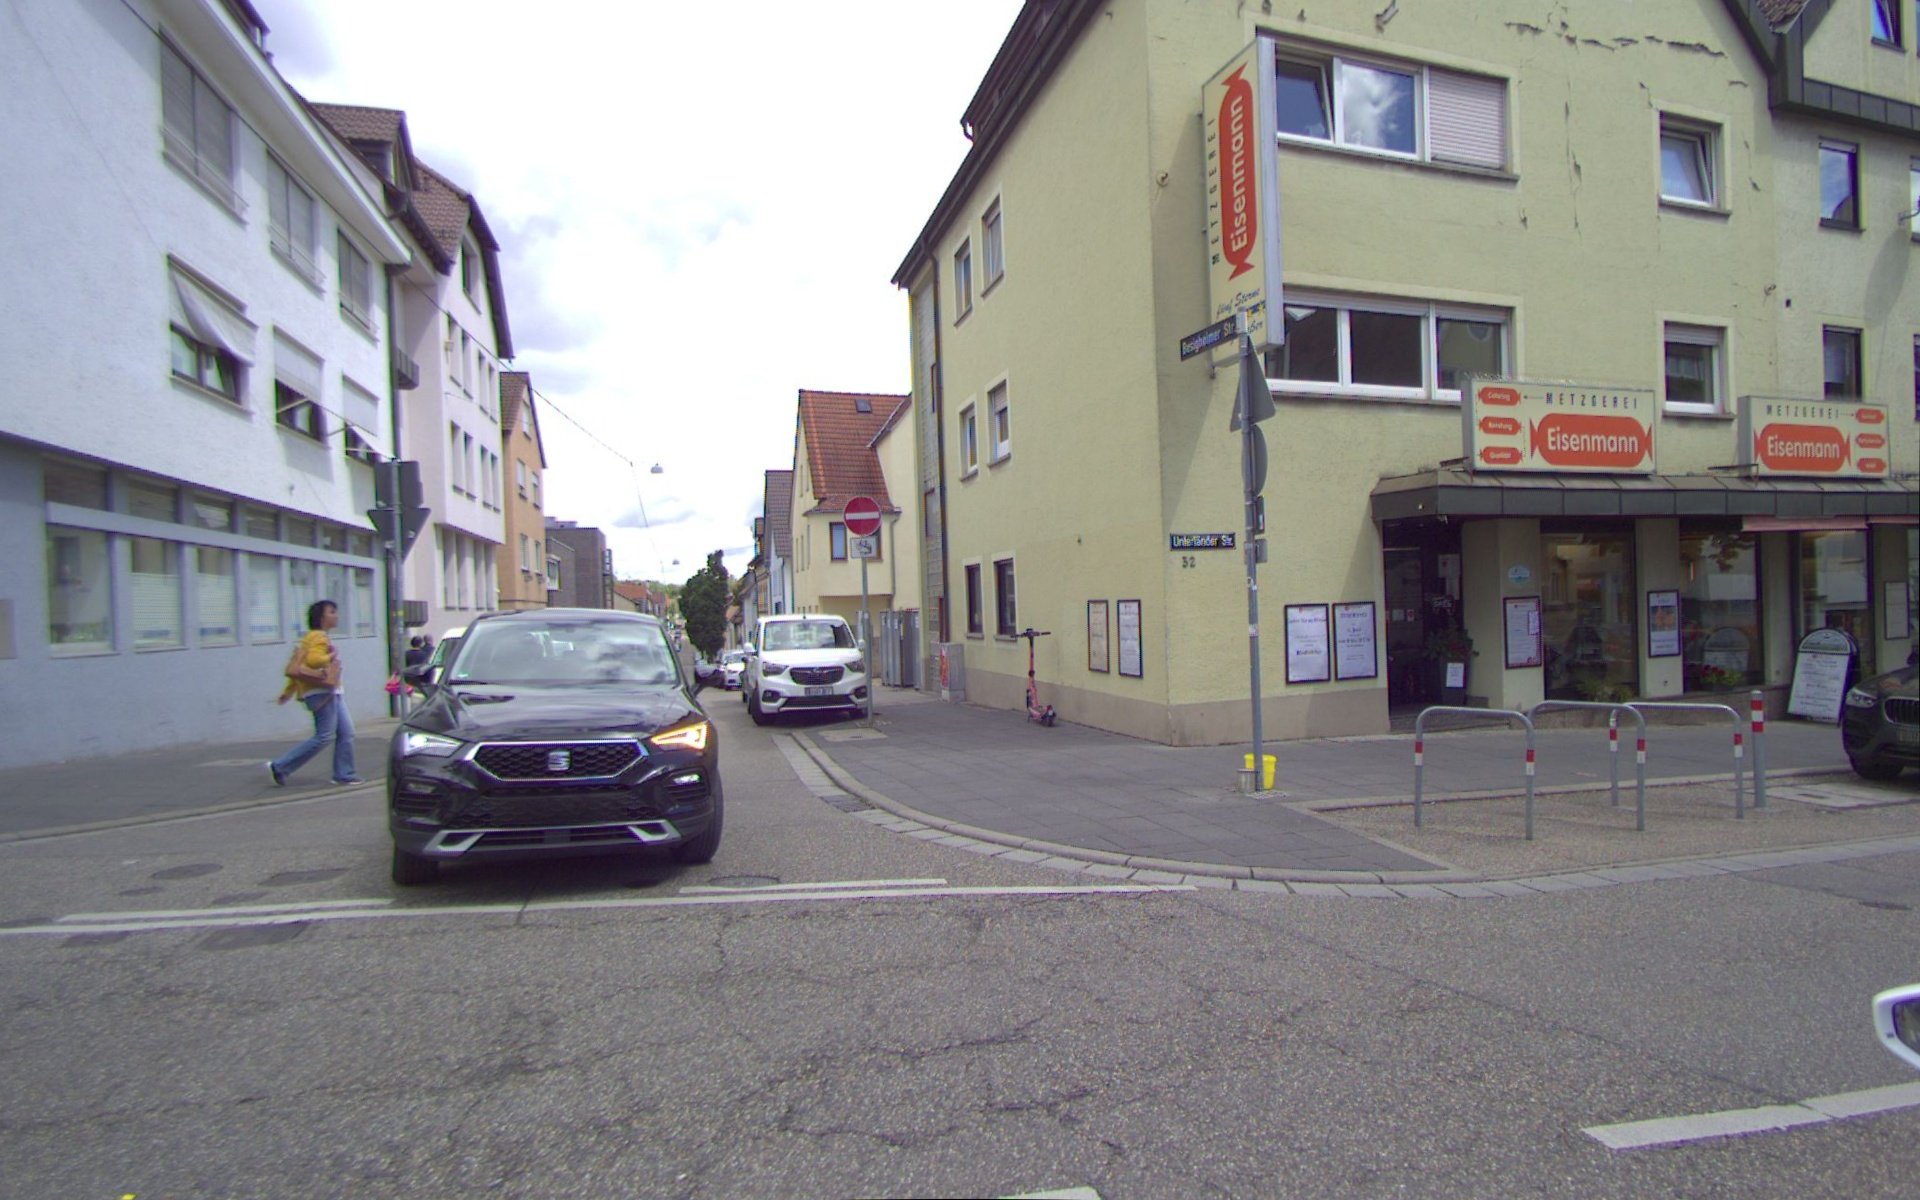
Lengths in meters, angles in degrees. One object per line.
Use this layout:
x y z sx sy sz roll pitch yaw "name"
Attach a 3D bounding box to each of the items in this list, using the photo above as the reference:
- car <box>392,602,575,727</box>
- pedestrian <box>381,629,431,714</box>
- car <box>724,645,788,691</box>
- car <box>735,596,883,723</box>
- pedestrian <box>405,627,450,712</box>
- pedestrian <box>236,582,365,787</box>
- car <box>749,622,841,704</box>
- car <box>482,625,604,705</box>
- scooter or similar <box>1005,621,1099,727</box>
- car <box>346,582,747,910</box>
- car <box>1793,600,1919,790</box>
-8.028 1.119 17.423 1.836 1.843 4.828 2 -4 -14 "car"
-10.400 1.327 18.878 0.627 1.564 0.706 1 -1 -13 "pedestrian"
-7.490 2.469 37.289 1.824 1.506 4.350 1 -1 -5 "car"
-2.745 1.011 17.348 1.967 1.829 4.341 -2 -3 -16 "car"
-11.361 1.462 21.454 0.627 1.761 0.834 1 -1 -13 "pedestrian"
-5.961 0.749 9.127 0.824 1.761 0.635 1 -2 -23 "pedestrian"
-3.805 1.409 22.592 1.708 1.650 4.343 1 -4 -13 "car"
-9.466 1.480 23.141 1.966 1.641 4.085 -1 -3 -14 "car"
1.207 0.959 13.503 0.581 1.298 1.589 -3 -1 -20 "scooter or similar"
-2.720 0.770 7.255 1.885 1.589 4.356 1 -1 -18 "car"
10.853 0.895 9.990 4.539 1.716 2.003 1 1 -21 "car"
